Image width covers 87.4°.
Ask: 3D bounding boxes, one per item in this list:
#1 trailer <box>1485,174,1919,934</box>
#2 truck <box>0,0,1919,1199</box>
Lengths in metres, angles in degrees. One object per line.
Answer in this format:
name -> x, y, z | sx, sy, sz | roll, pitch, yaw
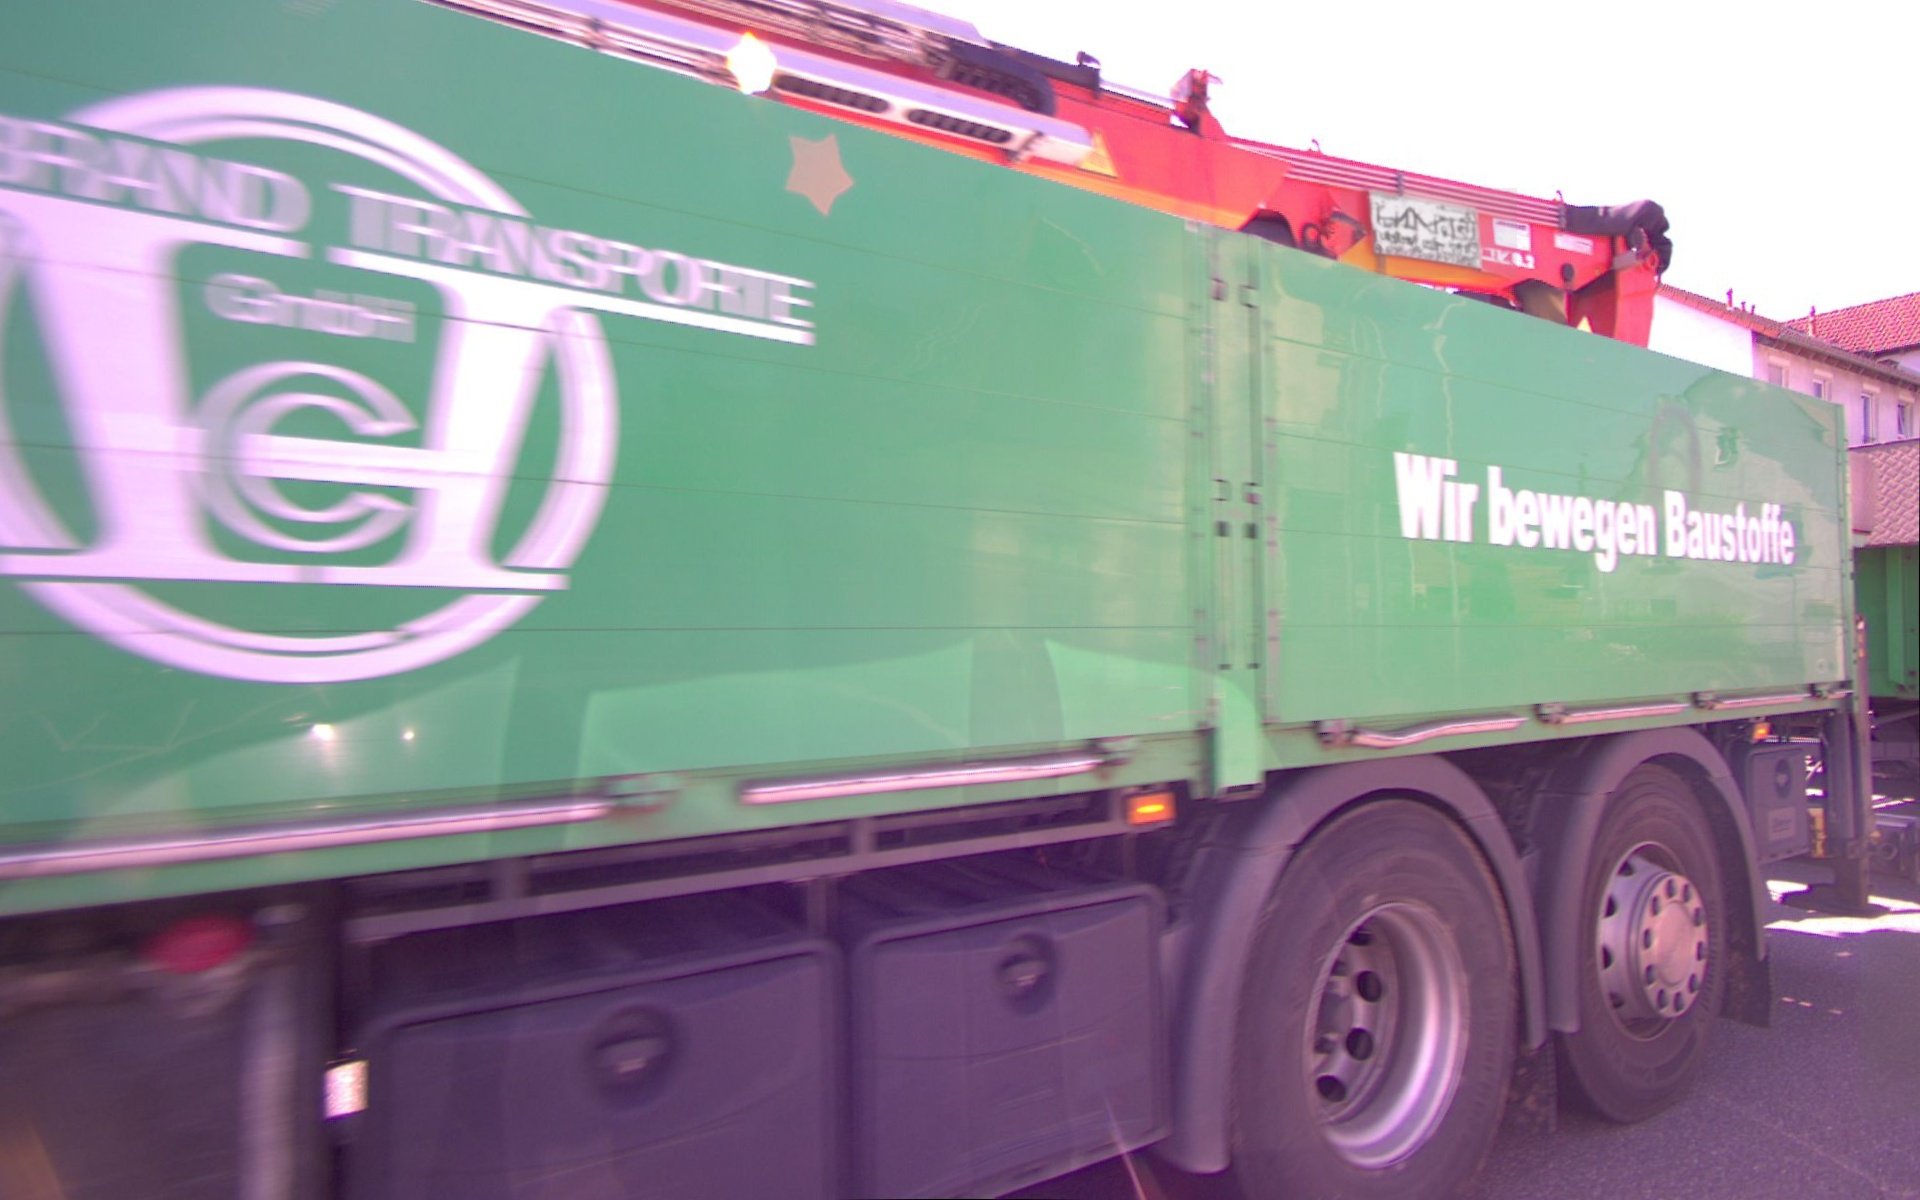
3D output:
trailer -> 7.763, -0.124, 7.868 | 8.365, 3.697, 2.517 | 1, -2, -31
truck -> -0.154, -0.329, 3.048 | 9.963, 3.749, 2.554 | 1, -3, -31
